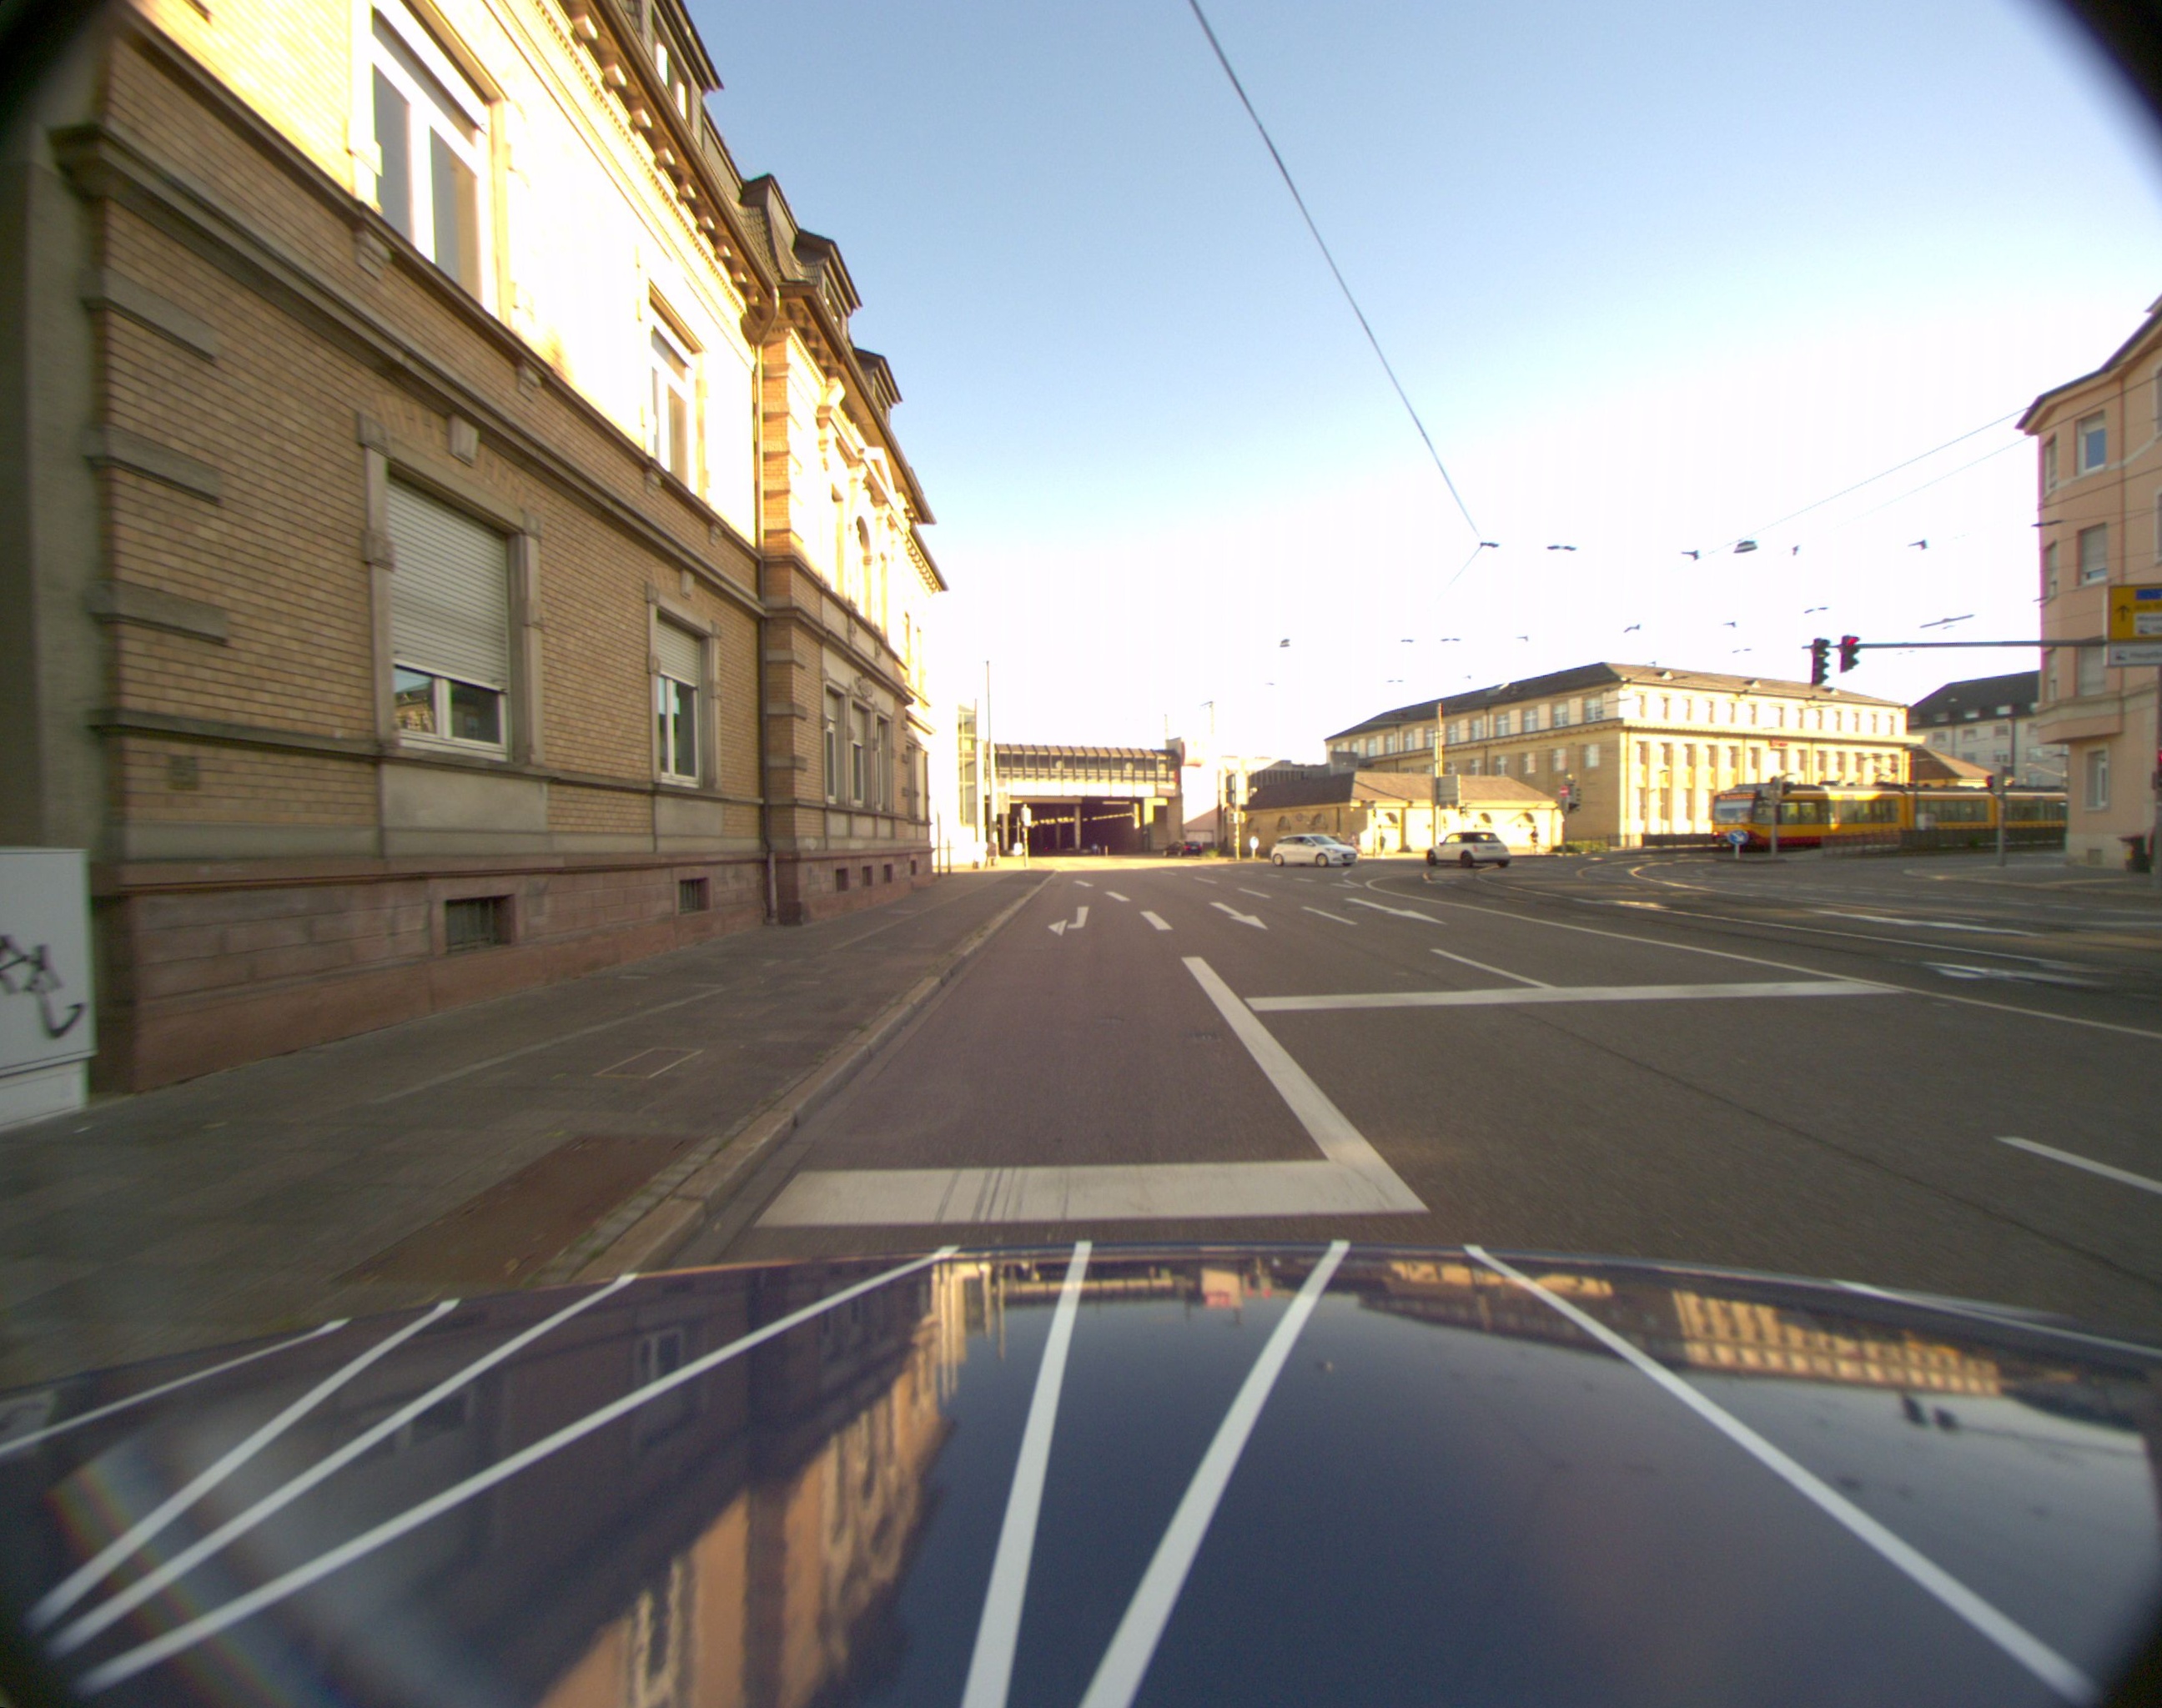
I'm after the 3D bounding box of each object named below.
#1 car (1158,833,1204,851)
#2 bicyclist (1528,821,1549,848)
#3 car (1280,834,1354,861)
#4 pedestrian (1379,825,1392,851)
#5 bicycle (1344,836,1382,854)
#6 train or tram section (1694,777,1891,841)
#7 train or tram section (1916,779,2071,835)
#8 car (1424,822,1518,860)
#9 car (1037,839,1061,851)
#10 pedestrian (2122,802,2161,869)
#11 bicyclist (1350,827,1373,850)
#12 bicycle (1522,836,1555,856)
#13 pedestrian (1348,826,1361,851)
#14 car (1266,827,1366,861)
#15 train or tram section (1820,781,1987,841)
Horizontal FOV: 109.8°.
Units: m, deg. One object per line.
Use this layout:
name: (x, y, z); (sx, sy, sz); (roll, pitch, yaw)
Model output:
car: (8.378, -1.030, 64.177); (2.001, 1.384, 4.553); (-2, 2, -18)
bicyclist: (28.302, -1.226, 47.025); (0.941, 1.630, 0.676); (-3, 2, -26)
car: (13.395, -0.392, 43.383); (1.929, 1.447, 4.491); (-2, 1, -15)
pedestrian: (19.283, -1.003, 48.071); (0.623, 1.631, 0.490); (1, 3, 43)
bicycle: (17.129, -0.577, 46.237); (0.936, 1.050, 3.352); (-1, 1, -2)
train or tram section: (40.218, -2.539, 42.852); (11.829, 3.302, 3.162); (-2, 2, -20)
train or tram section: (60.728, -3.143, 50.532); (10.859, 3.338, 3.160); (-3, 2, -20)
car: (15.409, -0.527, 30.221); (1.731, 1.367, 3.532); (-1, 1, -5)
car: (-4.137, -1.188, 97.503); (1.831, 1.417, 4.319); (-2, 2, -20)
pedestrian: (25.464, -0.448, 18.025); (0.675, 1.555, 0.721); (0, 2, 35)
bicyclist: (17.118, -0.974, 46.415); (0.936, 1.374, 1.147); (-1, 2, -2)
bicycle: (28.338, -0.517, 47.055); (2.076, 1.130, 0.684); (-3, 3, -26)
pedestrian: (18.041, -0.995, 50.060); (0.623, 1.631, 0.516); (1, 3, 43)
car: (10.449, -0.453, 34.048); (1.795, 1.386, 4.095); (-2, 2, -31)
train or tram section: (50.717, -2.682, 46.797); (10.689, 3.338, 3.160); (-3, 2, -20)
